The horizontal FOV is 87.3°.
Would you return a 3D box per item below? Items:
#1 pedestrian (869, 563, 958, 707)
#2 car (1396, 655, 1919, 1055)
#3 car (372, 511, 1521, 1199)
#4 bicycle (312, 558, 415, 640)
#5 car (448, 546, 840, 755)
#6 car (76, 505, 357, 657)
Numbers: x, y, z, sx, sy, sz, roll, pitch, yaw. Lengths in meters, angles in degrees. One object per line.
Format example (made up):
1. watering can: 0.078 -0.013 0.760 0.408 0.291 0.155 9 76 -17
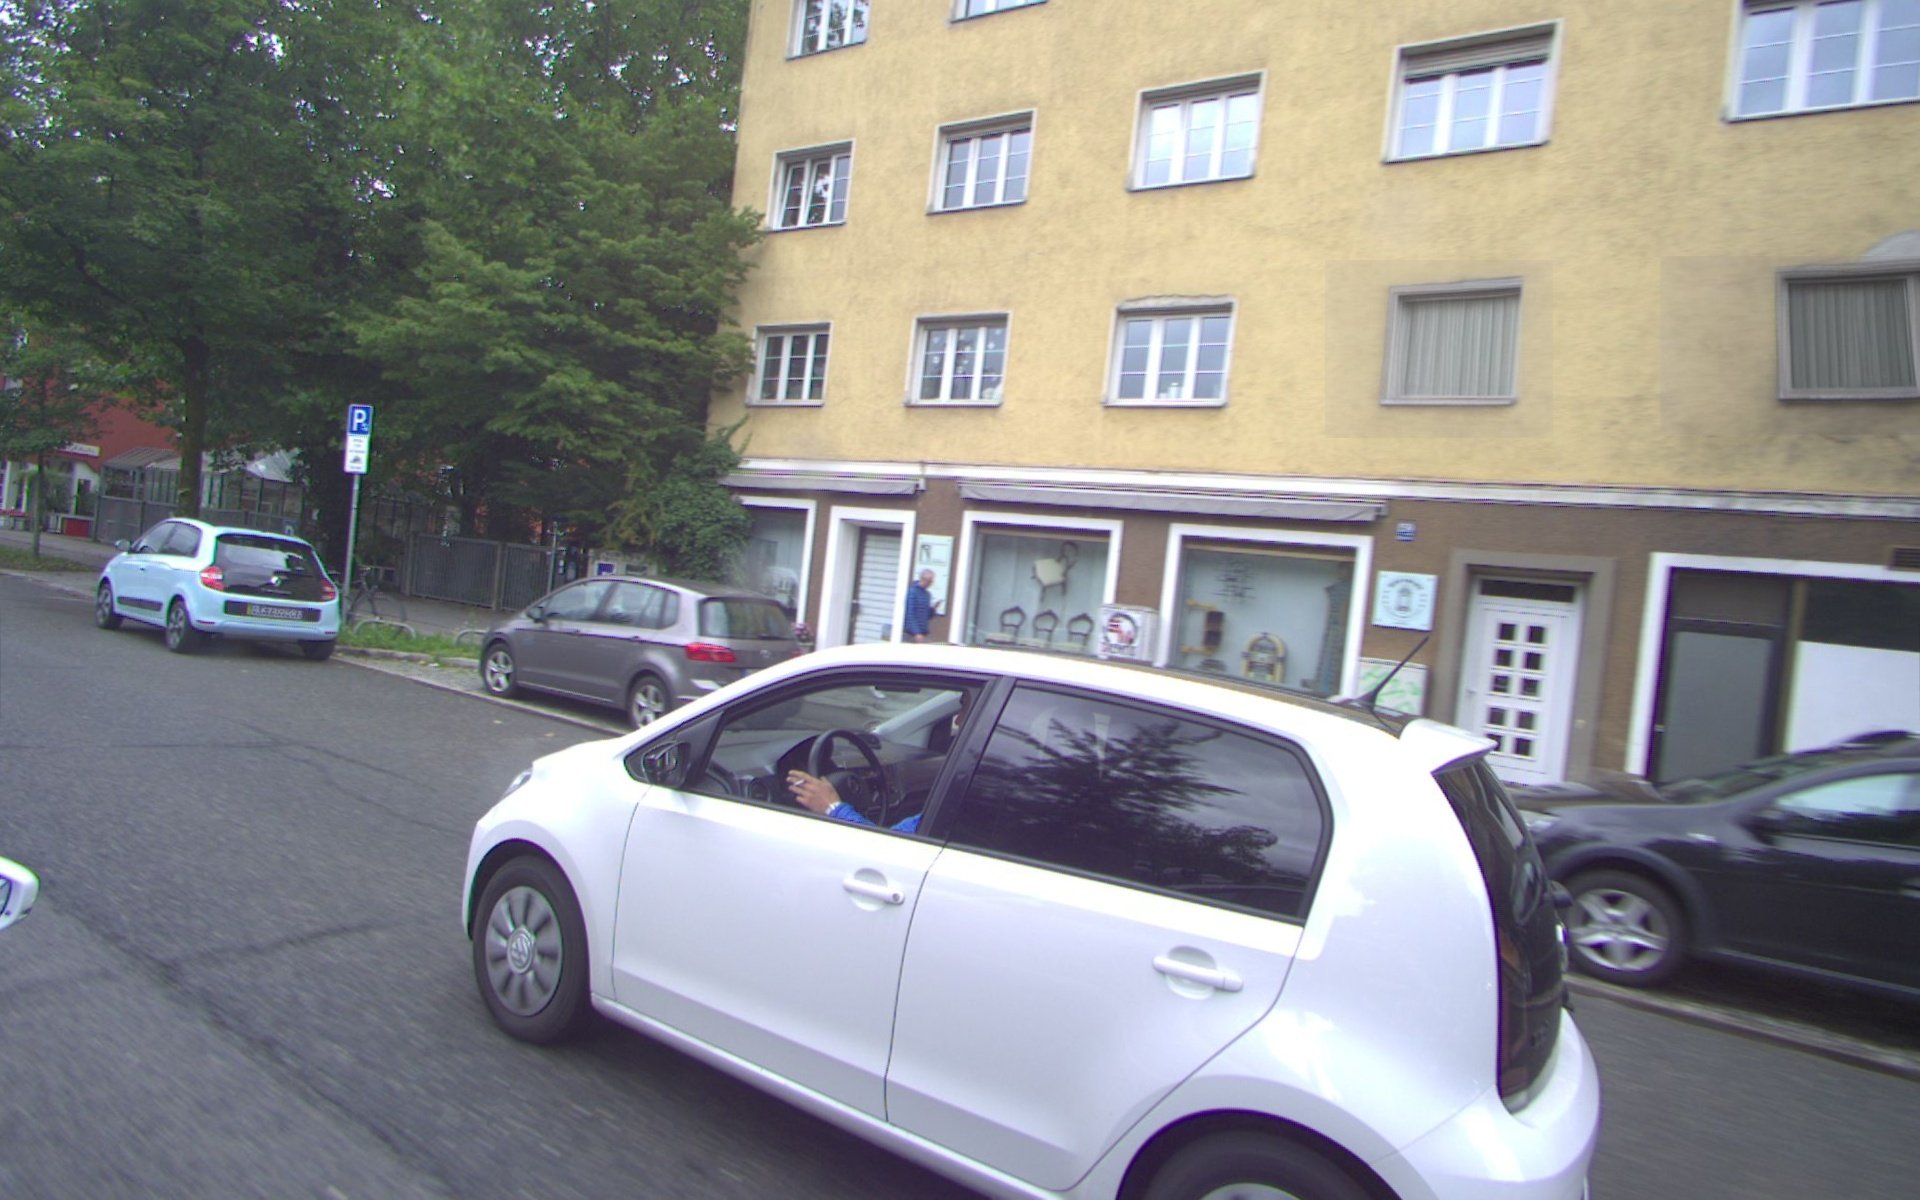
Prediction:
1. pedestrian: -0.649 0.478 14.046 0.763 1.880 0.793 7 3 29
2. car: 5.113 1.461 5.944 4.261 1.663 1.996 7 0 32
3. car: -0.124 0.693 3.418 3.377 1.507 1.690 7 -1 31
4. bicycle: -8.739 -0.025 14.709 1.769 0.992 0.448 7 0 32
5. car: -3.629 0.460 11.285 4.237 1.647 1.816 7 1 33
6. car: -9.634 -0.279 12.948 3.936 1.470 1.654 7 1 34
